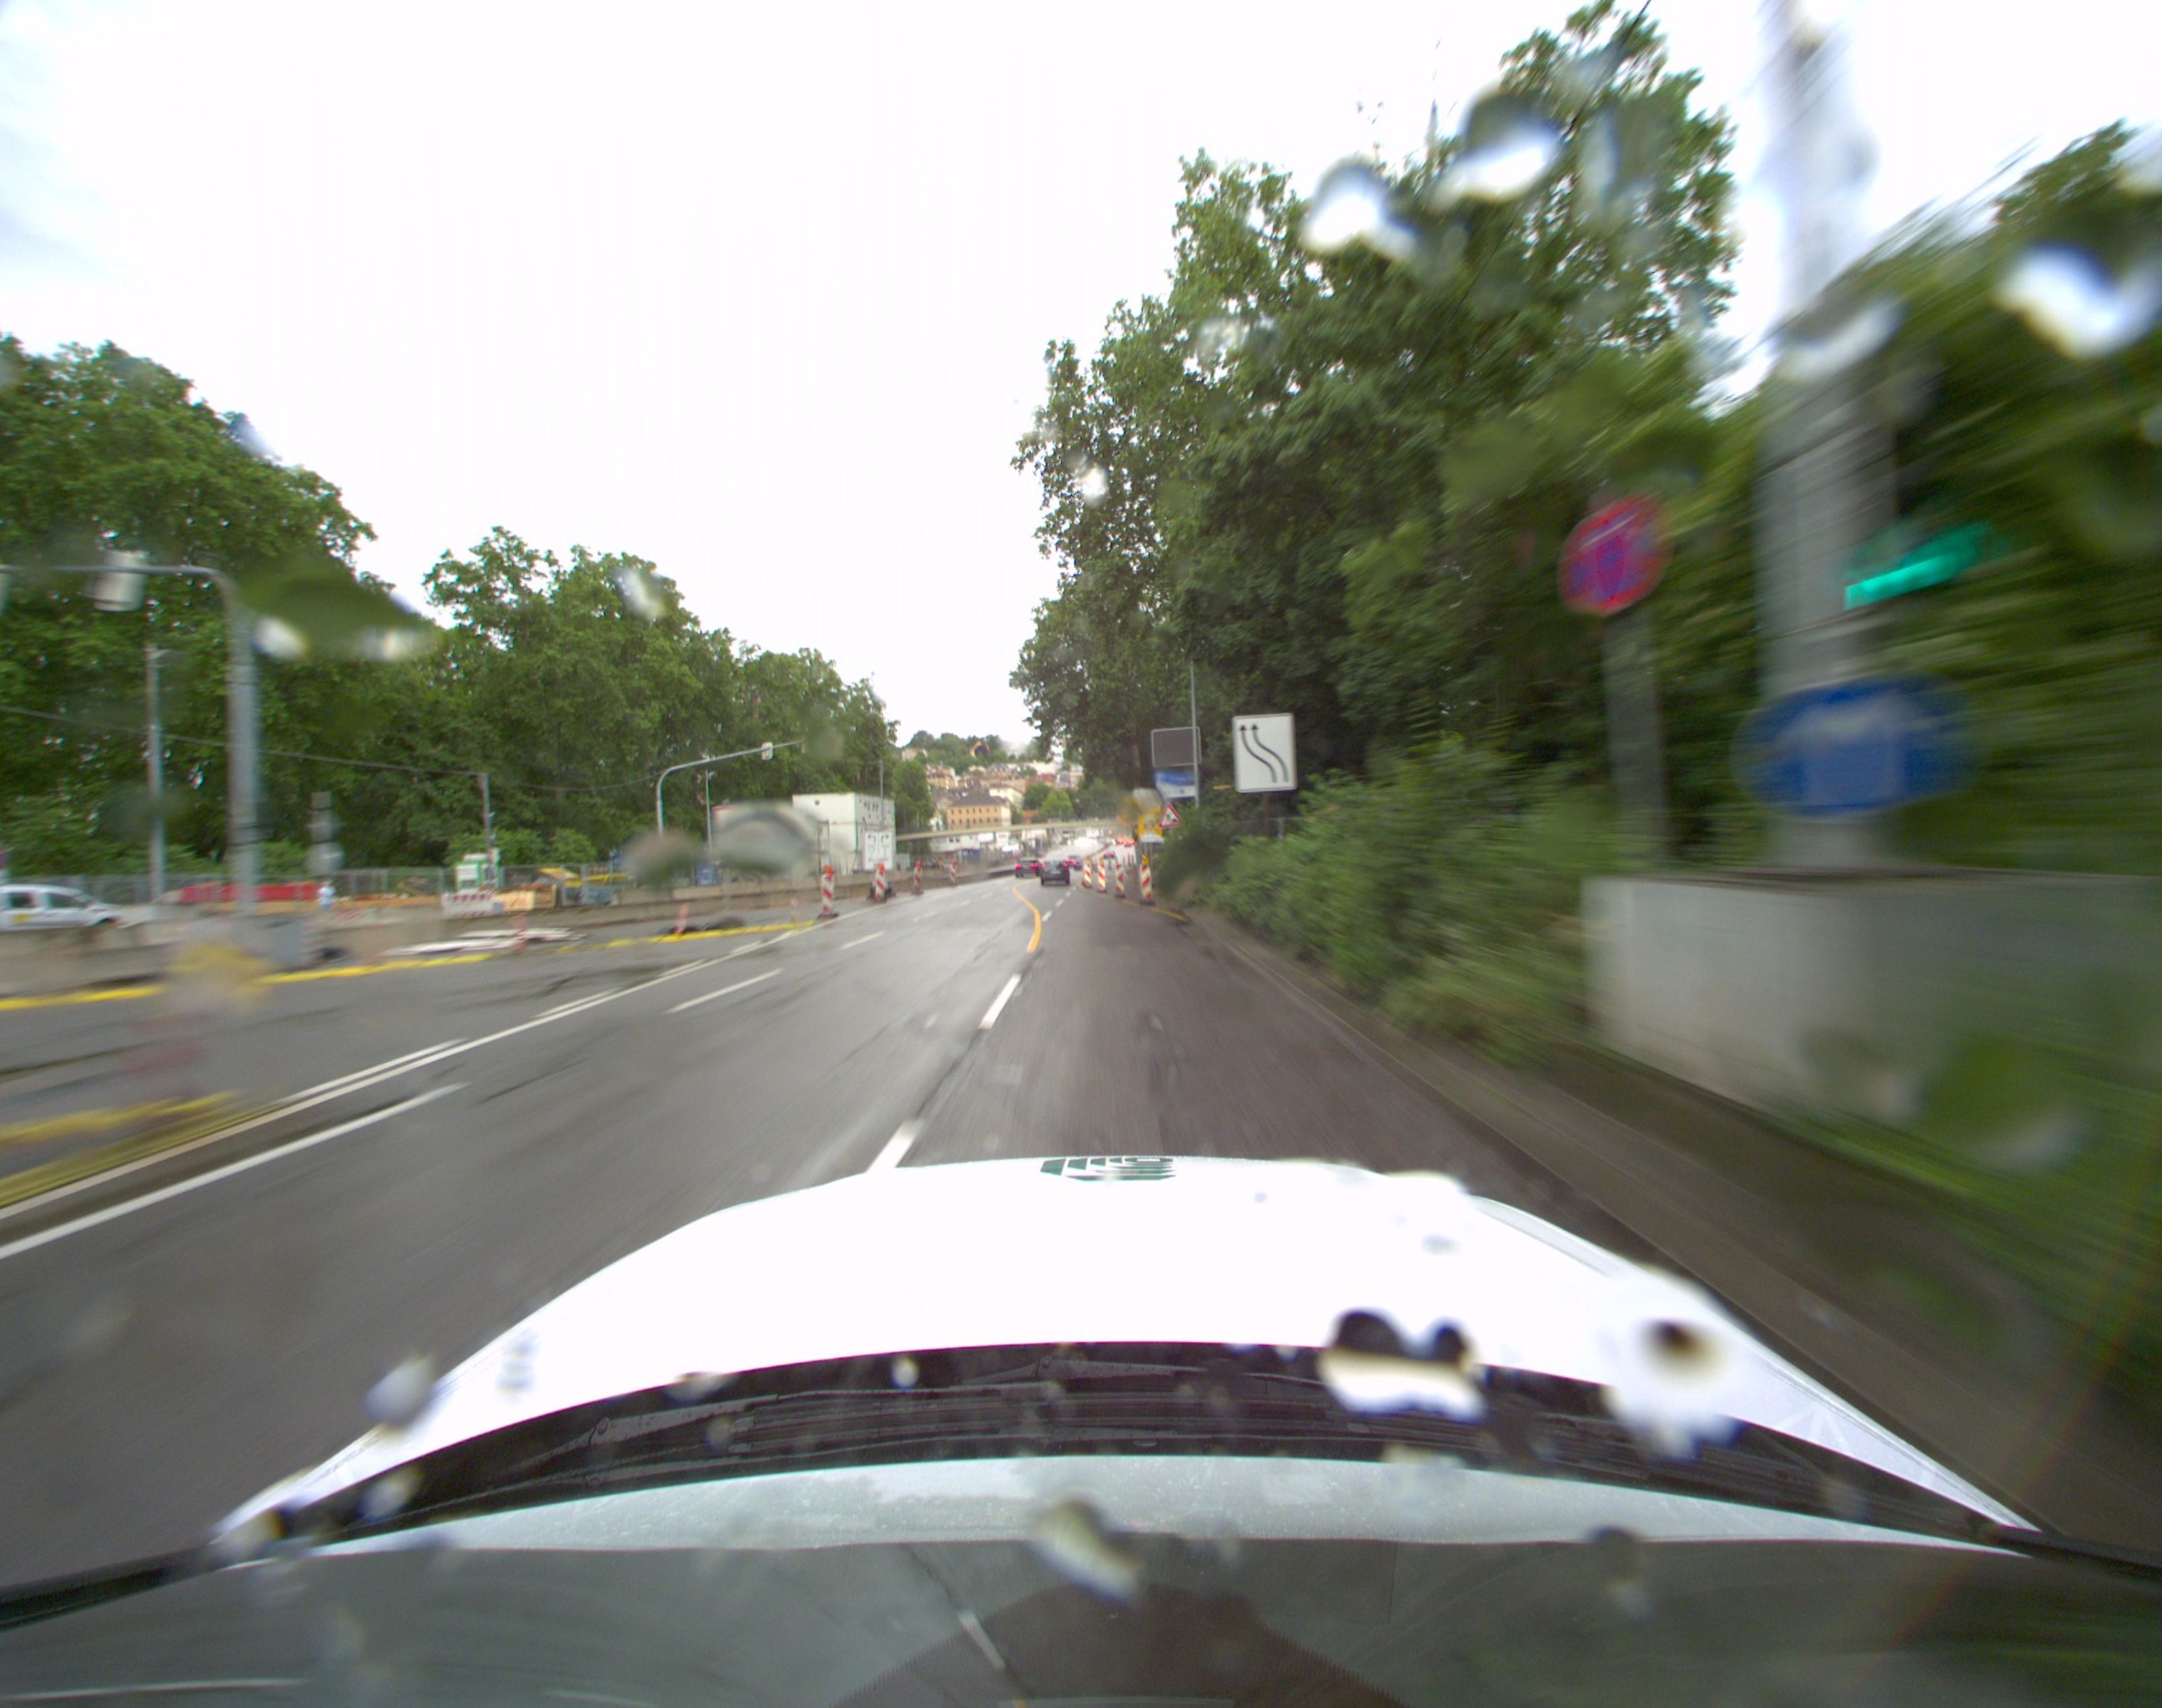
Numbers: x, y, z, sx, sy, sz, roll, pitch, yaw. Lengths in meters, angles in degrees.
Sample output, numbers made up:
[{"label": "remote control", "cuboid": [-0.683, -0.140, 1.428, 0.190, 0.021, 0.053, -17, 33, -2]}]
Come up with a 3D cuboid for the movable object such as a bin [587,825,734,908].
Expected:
[{"label": "movable object such as a bin", "cuboid": [-27.411, 0.769, 53.785, 4.730, 4.802, 8.366, -4, 0, 3]}]

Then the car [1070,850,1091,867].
[{"label": "car", "cuboid": [-0.063, 0.524, 103.360, 1.983, 2.013, 4.008, -4, 0, 7]}]

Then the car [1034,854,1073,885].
[{"label": "car", "cuboid": [-1.606, 0.845, 46.107, 1.810, 1.526, 3.991, -4, 0, -6]}]

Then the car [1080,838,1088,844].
[{"label": "car", "cuboid": [0.843, -3.884, 248.477, 2.072, 1.630, 4.858, -3, 1, 4]}]

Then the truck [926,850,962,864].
[{"label": "truck", "cuboid": [-22.197, 0.493, 132.072, 5.229, 2.013, 2.164, -4, 1, 0]}]

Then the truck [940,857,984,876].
[{"label": "truck", "cuboid": [-18.112, 1.841, 124.655, 6.261, 2.452, 2.691, -4, 0, -3]}]

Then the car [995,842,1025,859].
[{"label": "car", "cuboid": [-12.802, -0.629, 146.743, 1.974, 2.875, 6.091, -4, 0, 32]}]

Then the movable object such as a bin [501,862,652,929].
[{"label": "movable object such as a bin", "cuboid": [-27.425, 2.152, 44.746, 3.916, 3.128, 6.393, -4, 0, 3]}]

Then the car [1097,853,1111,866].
[{"label": "car", "cuboid": [3.902, 0.852, 135.051, 2.042, 2.013, 4.004, -4, 0, 4]}]

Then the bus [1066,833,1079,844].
[{"label": "bus", "cuboid": [-2.628, -4.679, 252.123, 2.793, 3.184, 8.820, -4, 1, 5]}]

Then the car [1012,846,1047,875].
[{"label": "car", "cuboid": [-3.968, 0.489, 63.421, 2.007, 2.013, 4.005, -4, 0, 5]}]

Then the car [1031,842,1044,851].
[{"label": "car", "cuboid": [-9.577, -1.590, 178.044, 1.982, 1.621, 4.011, -3, 2, 9]}]

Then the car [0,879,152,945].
[{"label": "car", "cuboid": [-31.893, 1.775, 24.654, 1.838, 1.761, 4.801, -4, 0, 3]}]

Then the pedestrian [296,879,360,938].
[{"label": "pedestrian", "cuboid": [-27.490, 1.972, 29.749, 1.173, 2.013, 1.177, -2, 0, 9]}]

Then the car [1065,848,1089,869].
[{"label": "car", "cuboid": [-0.443, 0.443, 87.076, 2.095, 2.050, 4.005, -4, 0, 5]}]

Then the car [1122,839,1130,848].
[{"label": "car", "cuboid": [10.991, -2.562, 198.700, 1.985, 1.869, 4.004, -4, 0, 3]}]

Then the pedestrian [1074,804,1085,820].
[{"label": "pedestrian", "cuboid": [-0.220, -5.704, 110.599, 1.140, 2.060, 1.063, -4, 0, 13]}]
